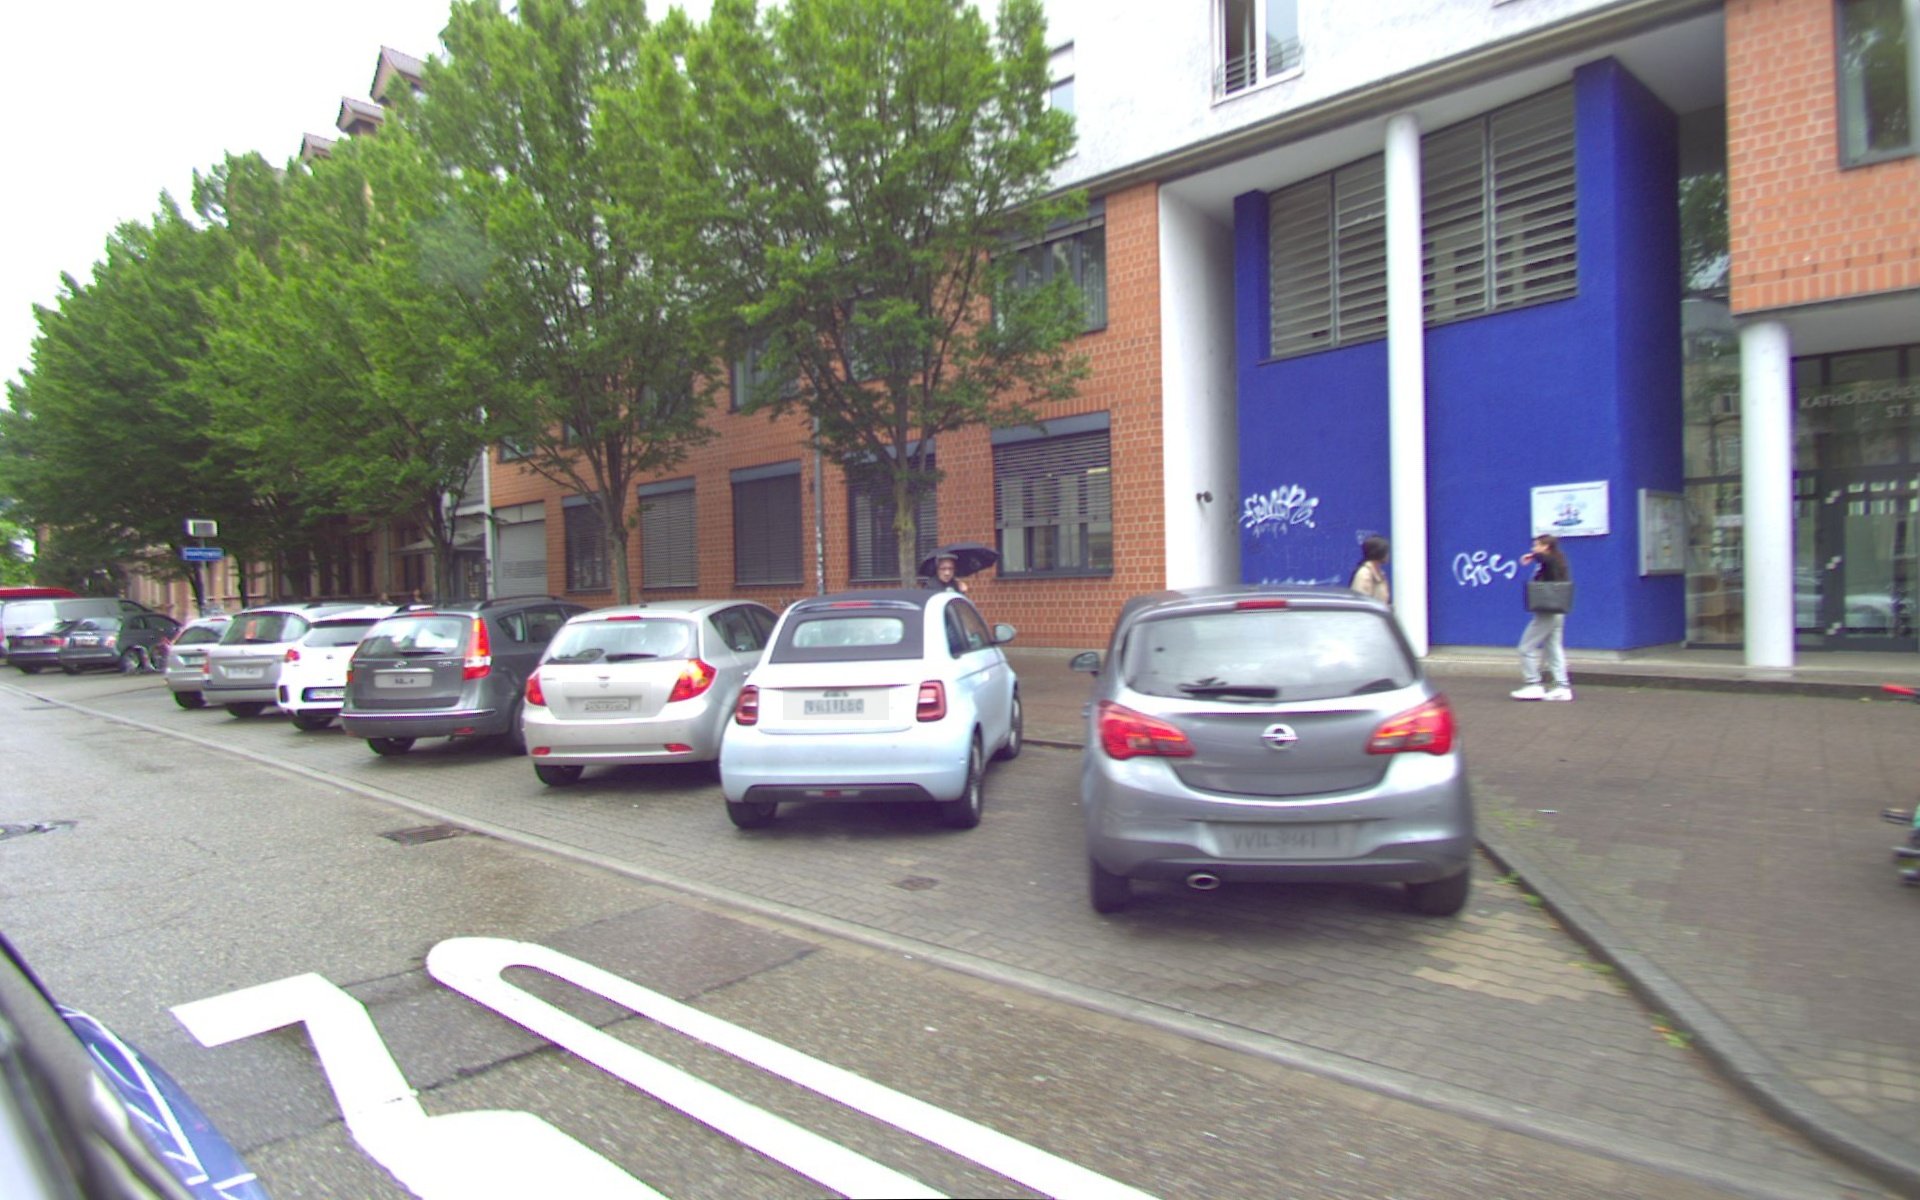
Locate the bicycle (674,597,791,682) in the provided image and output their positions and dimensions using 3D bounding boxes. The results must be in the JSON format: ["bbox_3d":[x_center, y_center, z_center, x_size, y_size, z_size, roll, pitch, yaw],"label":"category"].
[{"bbox_3d":[-3.686,0.614,16.552,0.553,1.160,1.879,-1,4,38],"label":"bicycle"}]

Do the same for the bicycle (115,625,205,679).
[{"bbox_3d":[-19.148,1.248,24.222,2.207,1.166,0.744,-3,0,25],"label":"bicycle"}]

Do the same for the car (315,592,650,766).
[{"bbox_3d":[-4.938,0.726,11.007,1.662,1.553,3.377,-1,1,9],"label":"car"}]

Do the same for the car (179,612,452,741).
[{"bbox_3d":[-9.255,1.020,14.858,1.614,1.667,3.379,-1,-1,7],"label":"car"}]

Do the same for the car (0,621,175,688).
[{"bbox_3d":[-24.035,1.449,27.836,1.743,1.457,3.979,-2,2,0],"label":"car"}]

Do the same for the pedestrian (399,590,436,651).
[{"bbox_3d":[-14.676,0.555,27.396,0.588,1.613,0.562,-2,3,35],"label":"pedestrian"}]

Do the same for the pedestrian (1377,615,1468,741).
[{"bbox_3d":[4.008,0.657,8.777,0.465,1.024,0.542,-5,2,-43],"label":"pedestrian"}]

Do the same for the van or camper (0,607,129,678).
[{"bbox_3d":[-29.767,1.336,32.728,1.760,1.990,4.439,-2,1,7],"label":"van or camper"}]

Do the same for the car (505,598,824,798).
[{"bbox_3d":[-2.511,0.758,9.450,1.660,1.468,3.380,-1,1,7],"label":"car"}]

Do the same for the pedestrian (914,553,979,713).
[{"bbox_3d":[-0.150,0.348,11.207,0.433,1.720,0.605,1,2,41],"label":"pedestrian"}]

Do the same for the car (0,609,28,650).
[{"bbox_3d":[-51.405,1.587,51.835,1.853,2.094,5.227,-1,1,16],"label":"car"}]

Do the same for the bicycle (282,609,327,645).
[{"bbox_3d":[-23.919,0.986,36.903,2.411,1.202,0.660,-2,4,41],"label":"bicycle"}]

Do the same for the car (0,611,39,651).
[{"bbox_3d":[-47.217,1.613,48.216,2.543,1.798,4.534,-1,3,39],"label":"car"}]

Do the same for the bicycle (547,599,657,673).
[{"bbox_3d":[-6.714,0.659,19.087,0.553,1.160,1.879,-1,4,38],"label":"bicycle"}]

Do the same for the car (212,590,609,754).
[{"bbox_3d":[-7.046,0.795,13.701,2.314,1.550,4.509,-1,4,12],"label":"car"}]

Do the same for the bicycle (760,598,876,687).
[{"bbox_3d":[-2.186,0.632,15.851,0.553,1.160,1.879,-1,4,38],"label":"bicycle"}]

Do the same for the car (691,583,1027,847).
[{"bbox_3d":[-0.515,0.658,7.652,1.662,1.518,3.376,-1,1,10],"label":"car"}]

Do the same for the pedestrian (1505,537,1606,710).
[{"bbox_3d":[5.669,0.206,9.634,0.700,1.562,0.608,-5,2,-43],"label":"pedestrian"}]

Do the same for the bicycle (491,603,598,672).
[{"bbox_3d":[-8.295,0.724,20.294,0.553,1.160,1.879,-1,4,38],"label":"bicycle"}]

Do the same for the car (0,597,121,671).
[{"bbox_3d":[-34.484,1.227,37.081,2.207,2.560,5.551,-2,0,13],"label":"car"}]

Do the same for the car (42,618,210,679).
[{"bbox_3d":[-21.668,1.210,26.478,1.627,1.446,3.482,-1,-1,-2],"label":"car"}]

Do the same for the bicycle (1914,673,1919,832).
[{"bbox_3d":[4.418,0.782,4.253,0.506,0.775,1.704,-2,1,41],"label":"bicycle"}]

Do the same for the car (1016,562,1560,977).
[{"bbox_3d":[1.528,0.608,5.760,1.967,1.518,3.819,-1,1,10],"label":"car"}]

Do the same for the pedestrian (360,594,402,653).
[{"bbox_3d":[-15.280,0.617,26.707,0.586,1.507,0.682,-2,3,35],"label":"pedestrian"}]

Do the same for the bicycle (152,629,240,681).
[{"bbox_3d":[-18.830,1.357,24.942,2.133,1.166,0.778,-3,0,25],"label":"bicycle"}]

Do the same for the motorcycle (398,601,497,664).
[{"bbox_3d":[-12.005,0.743,23.733,0.657,1.234,1.862,-2,5,43],"label":"motorcycle"}]

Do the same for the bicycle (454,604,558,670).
[{"bbox_3d":[-9.509,0.748,21.281,0.553,1.160,1.879,-1,4,38],"label":"bicycle"}]

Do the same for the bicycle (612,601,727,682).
[{"bbox_3d":[-5.018,0.695,17.609,0.553,1.160,1.879,-1,4,38],"label":"bicycle"}]

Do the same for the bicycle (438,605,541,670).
[{"bbox_3d":[-10.118,0.784,21.835,0.553,1.160,1.879,-1,4,38],"label":"bicycle"}]

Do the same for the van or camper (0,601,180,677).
[{"bbox_3d":[-26.913,1.125,31.062,2.304,1.967,4.700,-3,1,-1],"label":"van or camper"}]

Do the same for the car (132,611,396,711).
[{"bbox_3d":[-11.350,0.920,16.843,1.664,1.463,3.708,-1,-1,5],"label":"car"}]

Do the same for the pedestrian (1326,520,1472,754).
[{"bbox_3d":[3.558,0.266,8.198,0.815,1.765,0.758,-5,2,-43],"label":"pedestrian"}]
